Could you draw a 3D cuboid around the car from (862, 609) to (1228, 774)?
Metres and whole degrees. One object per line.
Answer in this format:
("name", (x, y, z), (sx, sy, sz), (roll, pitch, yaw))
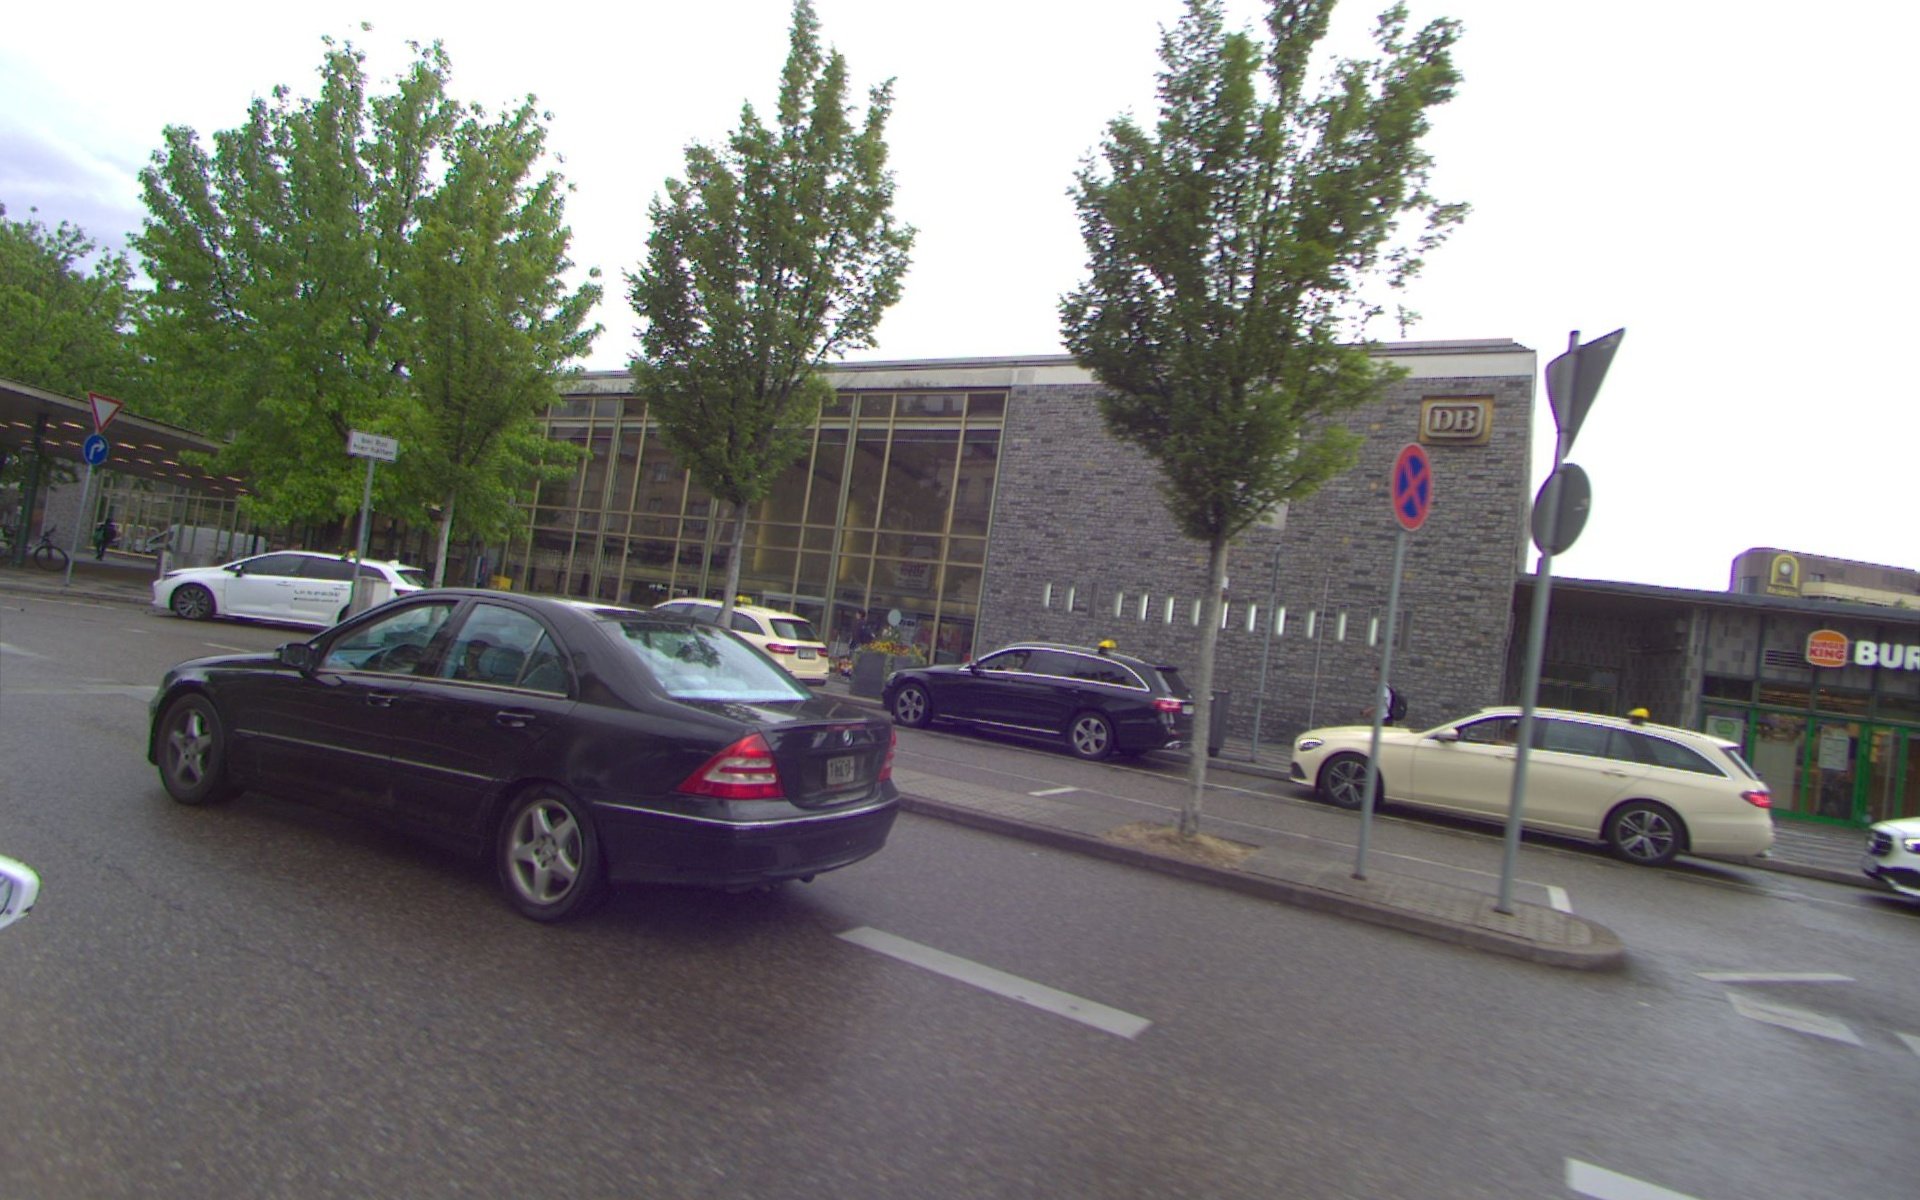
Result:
("car", (1.194, 1.284, 14.878), (4.874, 1.617, 1.999), (6, -2, 30))

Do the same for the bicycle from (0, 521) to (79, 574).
("bicycle", (-22.044, -1.254, 23.701), (0.413, 1.068, 1.830), (6, -1, 31))

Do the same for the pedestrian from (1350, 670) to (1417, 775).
("pedestrian", (7.346, 2.106, 17.479), (0.762, 1.687, 0.646), (7, 0, 9))

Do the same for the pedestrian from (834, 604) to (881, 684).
("pedestrian", (-2.233, 0.948, 21.861), (0.784, 1.646, 0.721), (6, 0, -13))

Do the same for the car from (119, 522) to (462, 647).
("car", (-11.855, -0.224, 18.128), (4.695, 1.563, 1.762), (7, -2, -9))

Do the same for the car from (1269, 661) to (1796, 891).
("car", (6.432, 1.861, 11.866), (4.876, 1.619, 1.996), (6, -1, 32))

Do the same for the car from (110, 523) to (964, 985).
("car", (-2.374, 0.568, 5.490), (4.372, 1.483, 1.699), (6, -1, 25))

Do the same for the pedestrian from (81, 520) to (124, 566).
("pedestrian", (-32.507, -2.149, 38.152), (0.799, 1.578, 0.867), (6, 0, 24))

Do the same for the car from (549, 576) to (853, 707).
("car", (-4.572, 0.691, 17.743), (4.868, 1.619, 1.999), (7, 0, 23))

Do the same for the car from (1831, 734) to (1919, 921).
("car", (11.201, 2.402, 8.958), (4.822, 1.619, 1.882), (6, -1, 32))
